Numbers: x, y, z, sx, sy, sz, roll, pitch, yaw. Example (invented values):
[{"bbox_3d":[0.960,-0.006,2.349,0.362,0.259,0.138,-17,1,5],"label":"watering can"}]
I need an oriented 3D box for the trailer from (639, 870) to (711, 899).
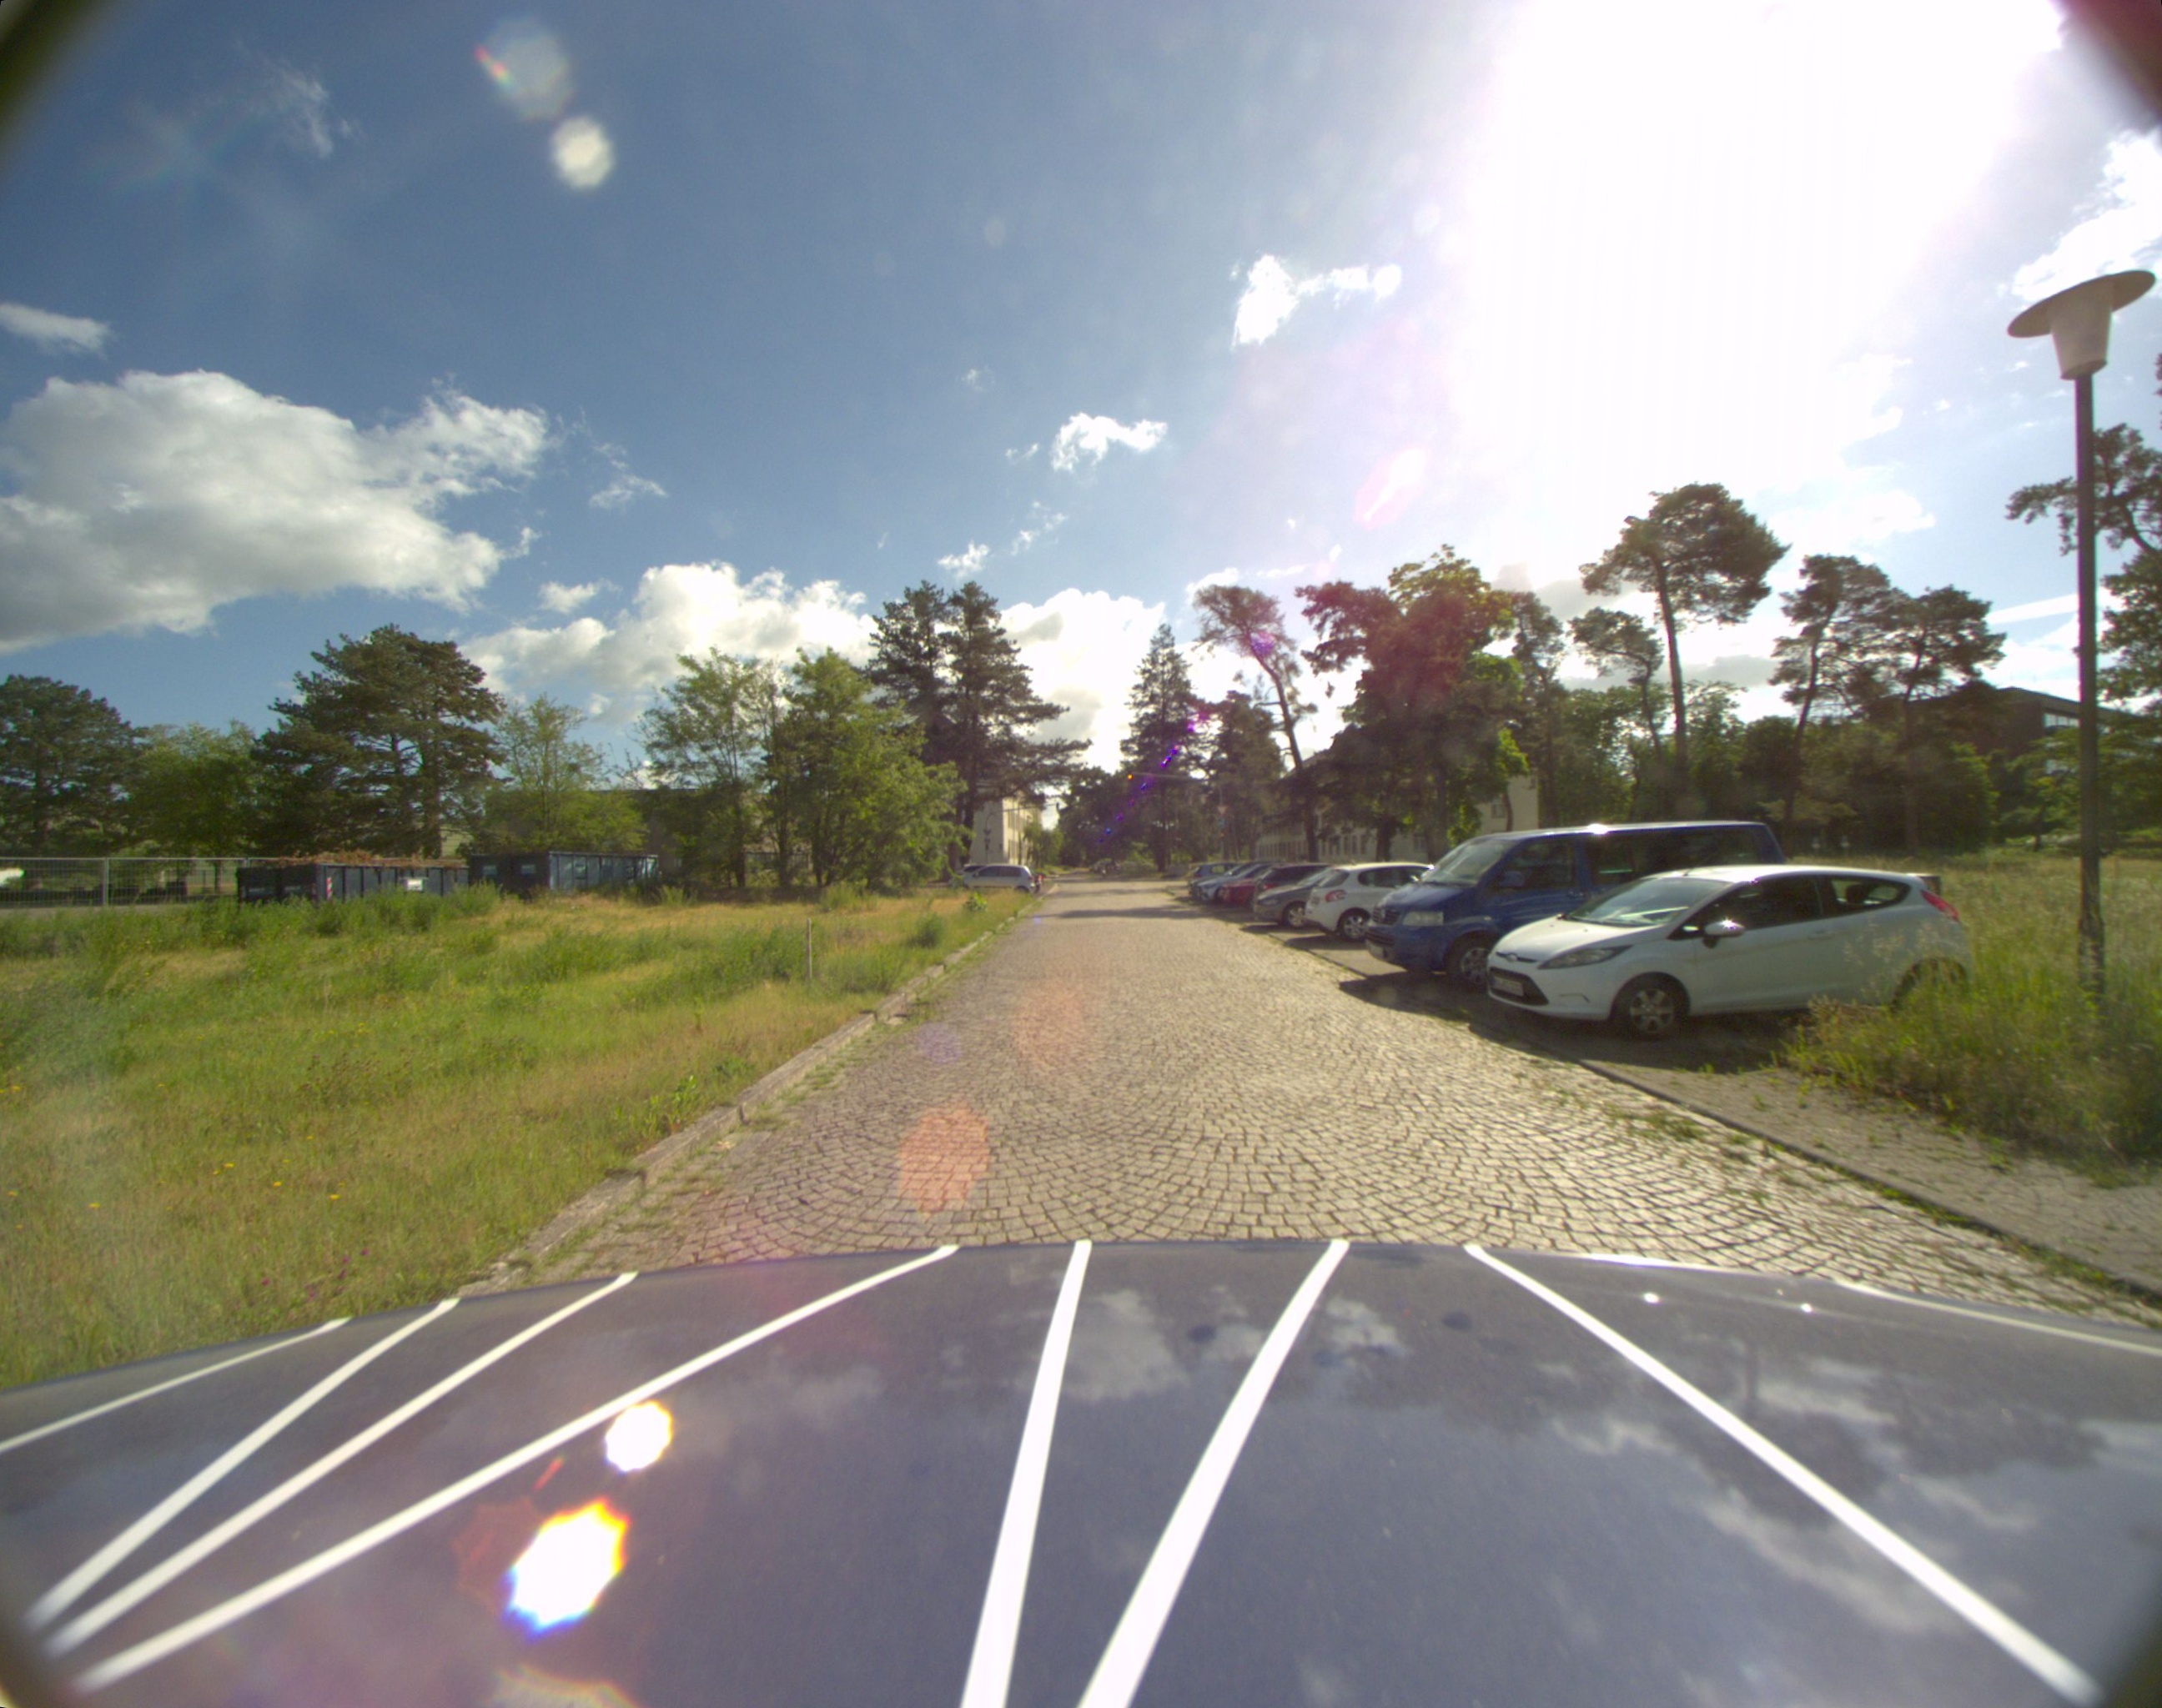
[{"bbox_3d":[-17.013,1.257,31.911,2.405,1.099,1.036,-2,0,-3],"label":"trailer"}]

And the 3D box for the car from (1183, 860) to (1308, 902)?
[{"bbox_3d":[6.625,1.087,31.000,4.593,1.443,1.984,-2,1,-2],"label":"car"}]

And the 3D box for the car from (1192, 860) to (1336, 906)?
[{"bbox_3d":[6.719,1.066,28.279,4.876,1.413,1.938,-2,1,1],"label":"car"}]

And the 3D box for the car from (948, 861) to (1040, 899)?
[{"bbox_3d":[-3.697,1.117,32.878,3.750,1.468,1.752,2,0,-1],"label":"car"}]

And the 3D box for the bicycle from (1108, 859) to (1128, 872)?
[{"bbox_3d":[4.196,1.291,85.529,2.114,1.276,0.621,-3,0,-5],"label":"bicycle"}]

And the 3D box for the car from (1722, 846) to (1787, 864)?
[{"bbox_3d":[59.755,0.092,67.426,4.055,1.620,1.841,0,0,3],"label":"car"}]

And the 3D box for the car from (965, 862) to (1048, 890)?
[{"bbox_3d":[-4.246,1.247,43.679,4.548,1.413,1.894,1,0,0],"label":"car"}]

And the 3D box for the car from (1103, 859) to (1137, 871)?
[{"bbox_3d":[4.945,1.382,97.297,4.044,1.514,1.817,-1,0,-7],"label":"car"}]

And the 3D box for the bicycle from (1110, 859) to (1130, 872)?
[{"bbox_3d":[4.301,1.278,84.699,2.114,1.276,0.621,-3,0,-6],"label":"bicycle"}]

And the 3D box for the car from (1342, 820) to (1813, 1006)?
[{"bbox_3d":[6.137,0.696,9.880,4.729,1.956,2.005,-3,0,1],"label":"car"}]

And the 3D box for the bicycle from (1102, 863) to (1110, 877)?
[{"bbox_3d":[2.575,1.662,79.131,0.621,1.342,2.114,-3,0,-3],"label":"bicycle"}]

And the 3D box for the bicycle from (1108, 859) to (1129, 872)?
[{"bbox_3d":[4.042,1.247,82.451,2.113,1.276,0.621,-6,1,-2],"label":"bicycle"}]

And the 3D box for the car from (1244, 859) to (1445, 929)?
[{"bbox_3d":[6.127,0.904,18.073,4.086,1.417,1.923,-2,0,2],"label":"car"}]

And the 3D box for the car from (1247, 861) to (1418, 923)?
[{"bbox_3d":[6.825,1.017,20.951,4.086,1.444,1.822,-2,1,2],"label":"car"}]

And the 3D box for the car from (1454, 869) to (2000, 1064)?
[{"bbox_3d":[5.929,0.964,7.295,3.826,1.431,1.683,-3,0,-2],"label":"car"}]

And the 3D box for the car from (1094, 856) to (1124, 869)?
[{"bbox_3d":[4.234,1.328,114.663,4.227,1.903,1.816,-1,0,-9],"label":"car"}]

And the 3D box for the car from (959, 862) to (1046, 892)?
[{"bbox_3d":[-4.173,1.231,40.864,4.525,1.456,1.838,1,0,-2],"label":"car"}]

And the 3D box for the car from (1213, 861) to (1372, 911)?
[{"bbox_3d":[7.117,1.071,25.927,4.876,1.412,1.938,-2,0,1],"label":"car"}]

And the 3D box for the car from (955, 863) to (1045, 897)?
[{"bbox_3d":[-3.734,1.183,35.633,4.015,1.432,1.844,2,0,-1],"label":"car"}]

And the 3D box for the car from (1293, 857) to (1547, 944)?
[{"bbox_3d":[6.620,0.874,15.182,4.206,1.466,1.824,-2,0,1],"label":"car"}]

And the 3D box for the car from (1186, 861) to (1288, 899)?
[{"bbox_3d":[6.830,1.122,33.615,4.037,1.474,1.949,-2,-1,-1],"label":"car"}]

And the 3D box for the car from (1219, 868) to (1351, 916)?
[{"bbox_3d":[6.261,1.165,23.631,3.639,1.227,1.760,-2,1,2],"label":"car"}]
